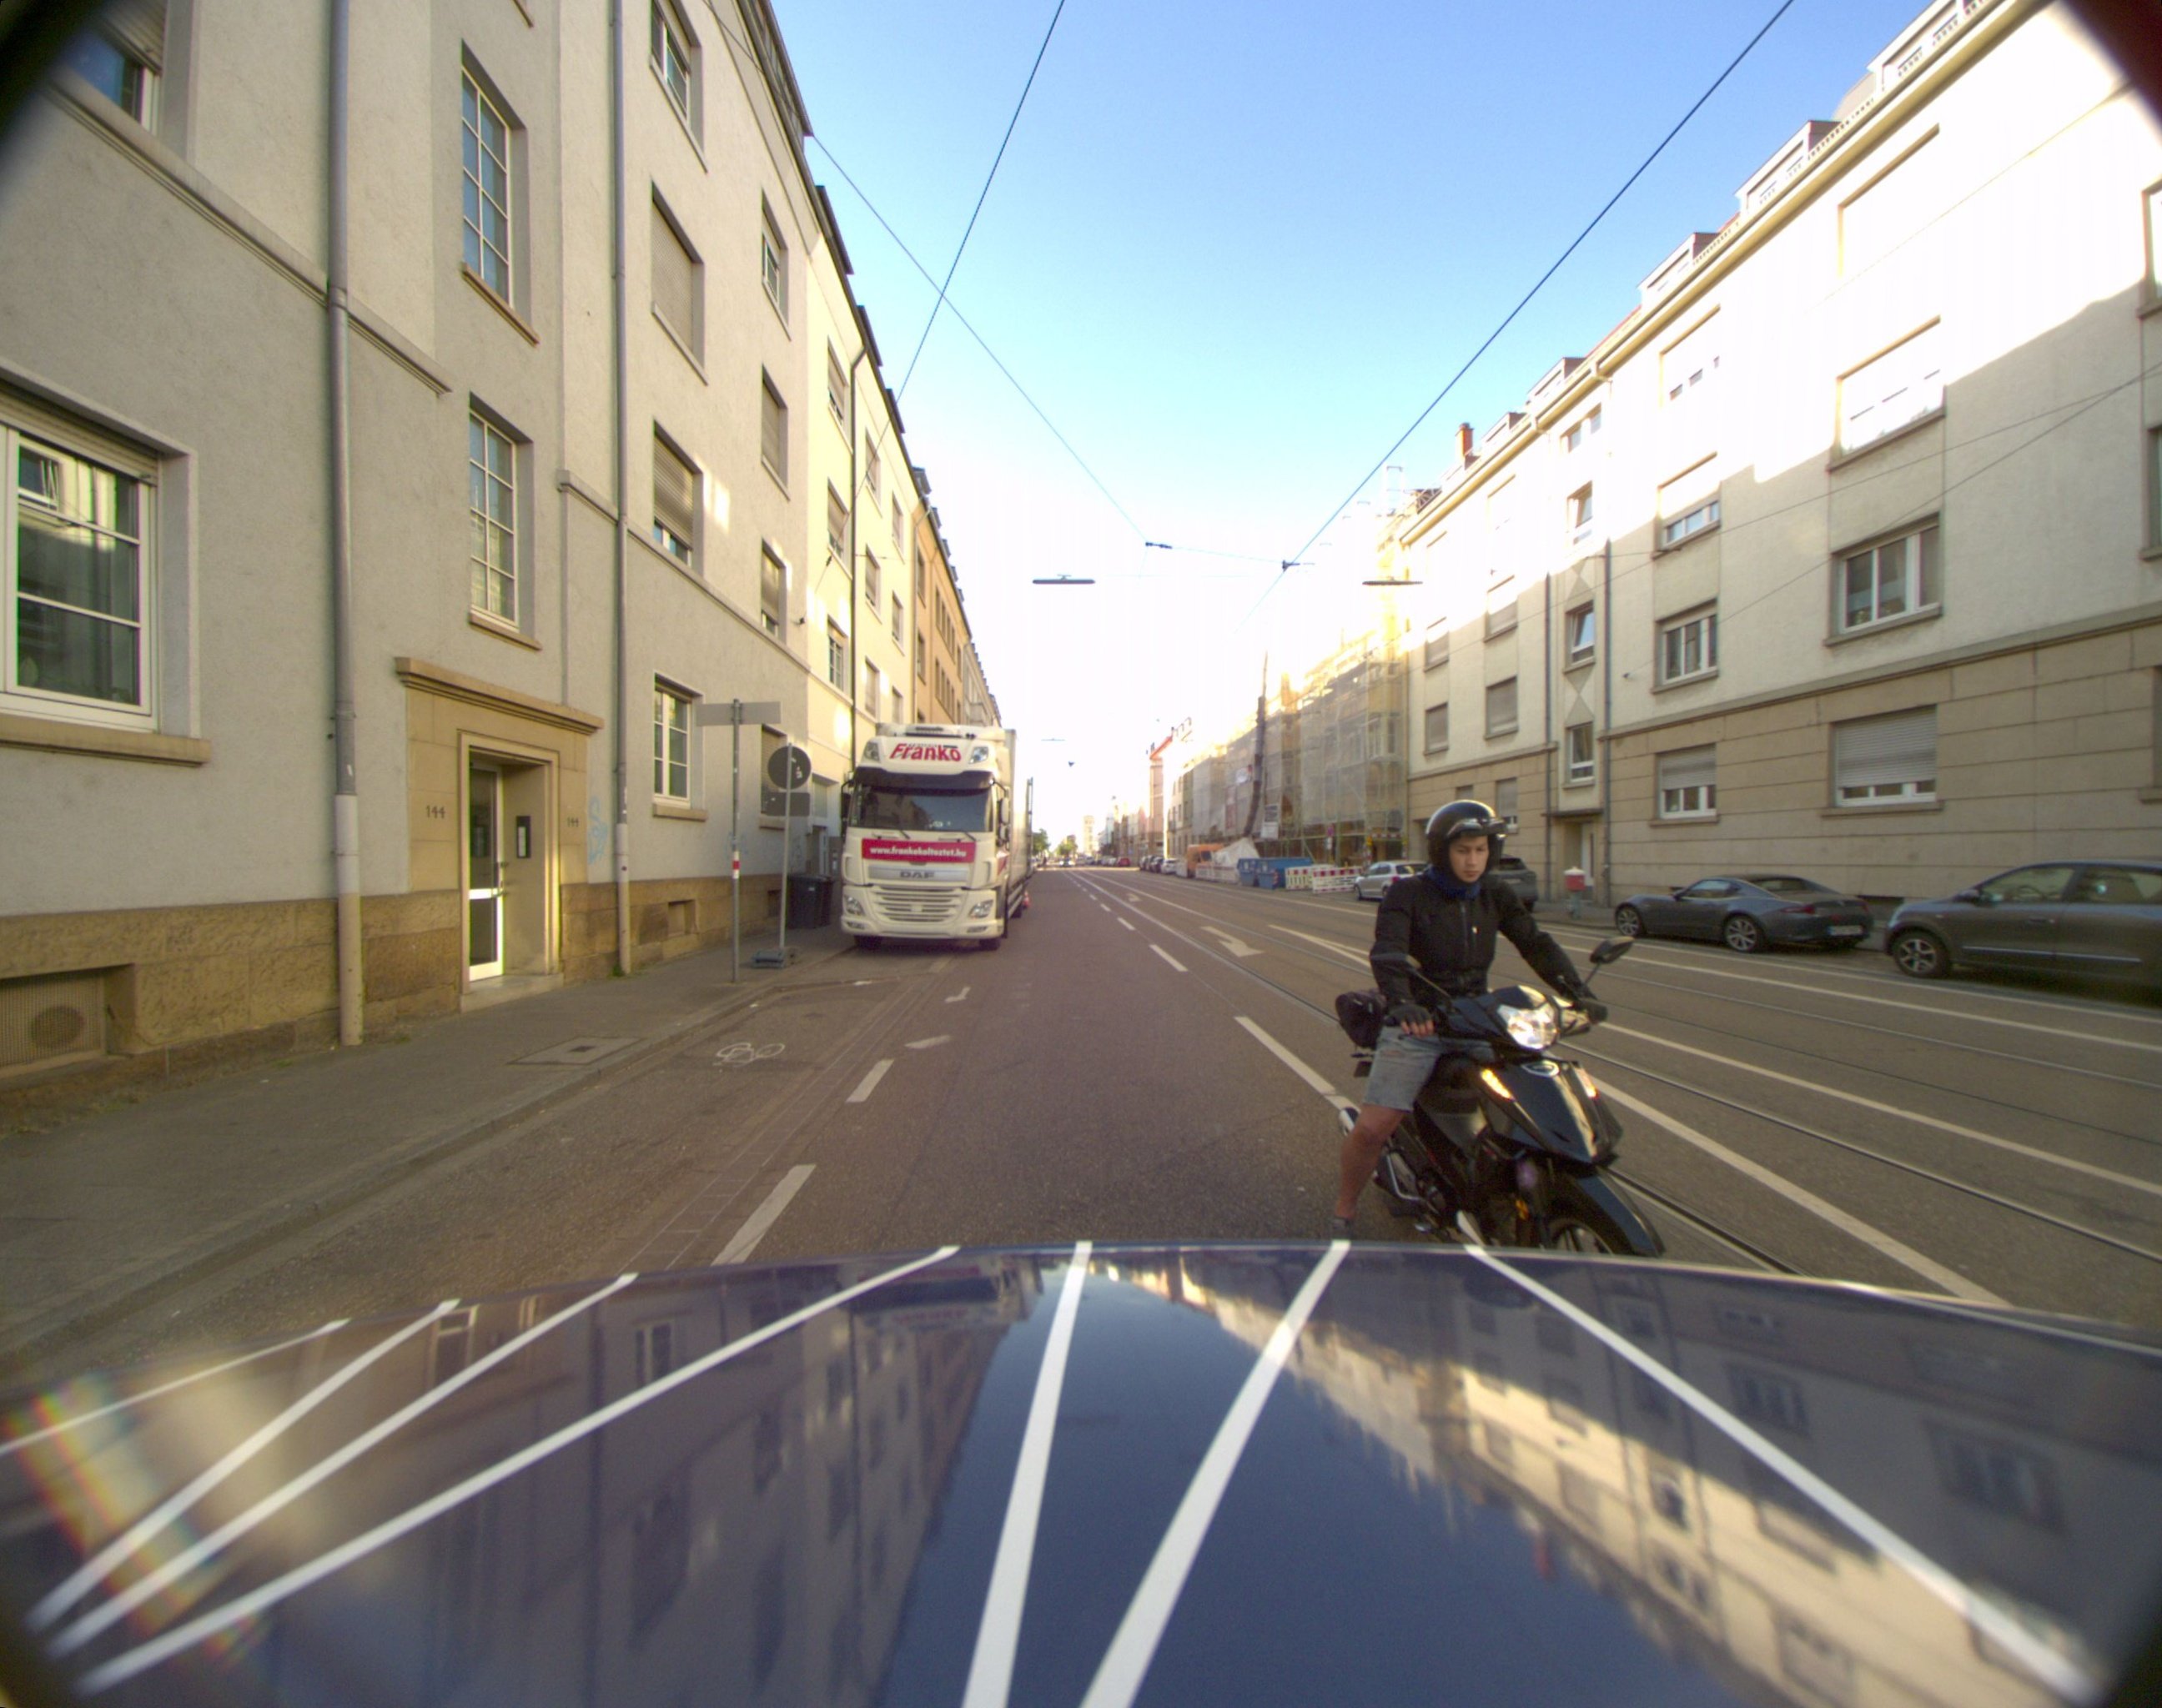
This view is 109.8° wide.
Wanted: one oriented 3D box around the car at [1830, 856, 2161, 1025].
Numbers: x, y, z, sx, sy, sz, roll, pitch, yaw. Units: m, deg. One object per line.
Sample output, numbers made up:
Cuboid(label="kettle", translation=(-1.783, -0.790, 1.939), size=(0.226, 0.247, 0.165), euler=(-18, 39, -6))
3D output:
Cuboid(label="car", translation=(11.380, 0.857, 8.639), size=(1.704, 1.560, 3.999), euler=(-2, 1, -2))

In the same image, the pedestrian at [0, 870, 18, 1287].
Cuboid(label="pedestrian", translation=(-4.338, 0.809, 2.358), size=(0.827, 1.525, 0.869), euler=(2, 0, -1))

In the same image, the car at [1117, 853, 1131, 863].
Cuboid(label="car", translation=(6.691, 0.564, 118.499), size=(1.799, 1.494, 3.768), euler=(-2, 0, -3))

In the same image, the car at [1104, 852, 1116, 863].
Cuboid(label="car", translation=(5.611, 0.720, 149.185), size=(1.999, 2.002, 3.999), euler=(1, 0, -3))

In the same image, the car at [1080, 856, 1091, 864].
Cuboid(label="car", translation=(0.879, 1.187, 158.322), size=(1.826, 1.559, 4.199), euler=(-2, 0, -4))

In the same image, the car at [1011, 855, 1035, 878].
Cuboid(label="car", translation=(-4.506, 0.932, 59.586), size=(1.713, 1.683, 4.588), euler=(1, 0, -3))

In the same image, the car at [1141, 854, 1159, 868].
Cuboid(label="car", translation=(7.954, 0.820, 88.152), size=(1.798, 1.601, 3.769), euler=(0, 0, 1))

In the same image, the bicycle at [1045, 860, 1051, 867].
Cuboid(label="bicycle", translation=(-4.012, 1.130, 92.662), size=(0.744, 0.850, 1.885), euler=(0, 0, -1))

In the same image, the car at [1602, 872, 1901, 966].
Cuboid(label="car", translation=(11.239, 1.009, 13.145), size=(1.704, 1.209, 3.784), euler=(-2, 1, -3))

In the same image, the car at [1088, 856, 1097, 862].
Cuboid(label="car", translation=(2.855, 1.280, 191.740), size=(1.799, 1.494, 3.768), euler=(-2, 0, -3))

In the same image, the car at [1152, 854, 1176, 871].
Cuboid(label="car", translation=(8.353, 0.856, 77.198), size=(1.702, 1.569, 4.221), euler=(-2, 0, -3))

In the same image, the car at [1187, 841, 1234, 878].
Cuboid(label="car", translation=(8.997, 0.368, 53.348), size=(2.125, 2.454, 5.999), euler=(1, 0, -2))

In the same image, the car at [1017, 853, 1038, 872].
Cuboid(label="car", translation=(-5.021, 0.752, 71.627), size=(1.703, 1.688, 4.187), euler=(1, 0, 0))

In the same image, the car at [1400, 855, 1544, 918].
Cuboid(label="car", translation=(10.826, 0.824, 21.446), size=(1.704, 1.558, 4.405), euler=(0, 0, -2))

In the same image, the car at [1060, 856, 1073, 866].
Cuboid(label="car", translation=(-2.140, 1.037, 112.572), size=(1.859, 1.369, 4.000), euler=(0, 0, 1))

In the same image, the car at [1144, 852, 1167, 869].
Cuboid(label="car", translation=(8.132, 0.699, 83.153), size=(1.799, 1.836, 3.768), euler=(-2, 0, -3))

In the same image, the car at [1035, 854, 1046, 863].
Cuboid(label="car", translation=(-7.611, 0.782, 142.969), size=(1.999, 1.630, 3.999), euler=(1, 0, -2))

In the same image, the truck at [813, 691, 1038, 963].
Cuboid(label="truck", translation=(-2.661, -0.390, 17.221), size=(2.867, 4.049, 11.776), euler=(0, 0, -1))

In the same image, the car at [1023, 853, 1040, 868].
Cuboid(label="car", translation=(-5.319, 0.701, 82.409), size=(1.703, 1.581, 3.960), euler=(0, 0, -2))

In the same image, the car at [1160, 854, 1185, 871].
Cuboid(label="car", translation=(8.531, 0.804, 71.081), size=(1.751, 1.502, 3.999), euler=(1, 0, -2))

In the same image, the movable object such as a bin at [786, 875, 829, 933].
Cuboid(label="movable object such as a bin", translation=(-5.405, 0.982, 15.039), size=(0.660, 1.098, 0.541), euler=(0, 1, -5))

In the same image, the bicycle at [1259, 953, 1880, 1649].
Cuboid(label="bicycle", translation=(1.249, 1.046, 2.558), size=(0.740, 1.170, 1.973), euler=(0, 0, -3))

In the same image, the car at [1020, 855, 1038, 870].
Cuboid(label="car", translation=(-5.255, 0.881, 77.290), size=(1.703, 1.496, 3.862), euler=(0, 0, -1))

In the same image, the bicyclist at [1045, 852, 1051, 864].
Cuboid(label="bicyclist", translation=(-4.000, 0.485, 92.772), size=(0.744, 1.481, 0.816), euler=(0, 0, -1))

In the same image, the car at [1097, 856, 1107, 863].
Cuboid(label="car", translation=(4.560, 1.120, 167.671), size=(1.799, 1.494, 3.768), euler=(-2, 0, -3))

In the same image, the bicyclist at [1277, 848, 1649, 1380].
Cuboid(label="bicyclist", translation=(1.227, 0.756, 2.643), size=(0.844, 1.545, 0.850), euler=(0, 0, -3))

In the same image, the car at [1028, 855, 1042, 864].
Cuboid(label="car", translation=(-6.803, 0.814, 112.992), size=(1.999, 1.412, 3.726), euler=(1, 0, -2))

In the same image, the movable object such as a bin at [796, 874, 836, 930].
Cuboid(label="movable object such as a bin", translation=(-5.440, 0.978, 15.631), size=(0.660, 1.098, 0.541), euler=(0, 1, -5))

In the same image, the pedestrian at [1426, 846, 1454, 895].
Cuboid(label="pedestrian", translation=(12.495, 0.571, 26.448), size=(0.582, 1.684, 0.716), euler=(-2, 1, -3))

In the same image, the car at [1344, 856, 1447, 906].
Cuboid(label="car", translation=(10.672, 0.863, 26.074), size=(1.704, 1.407, 3.999), euler=(-3, 1, -2))
